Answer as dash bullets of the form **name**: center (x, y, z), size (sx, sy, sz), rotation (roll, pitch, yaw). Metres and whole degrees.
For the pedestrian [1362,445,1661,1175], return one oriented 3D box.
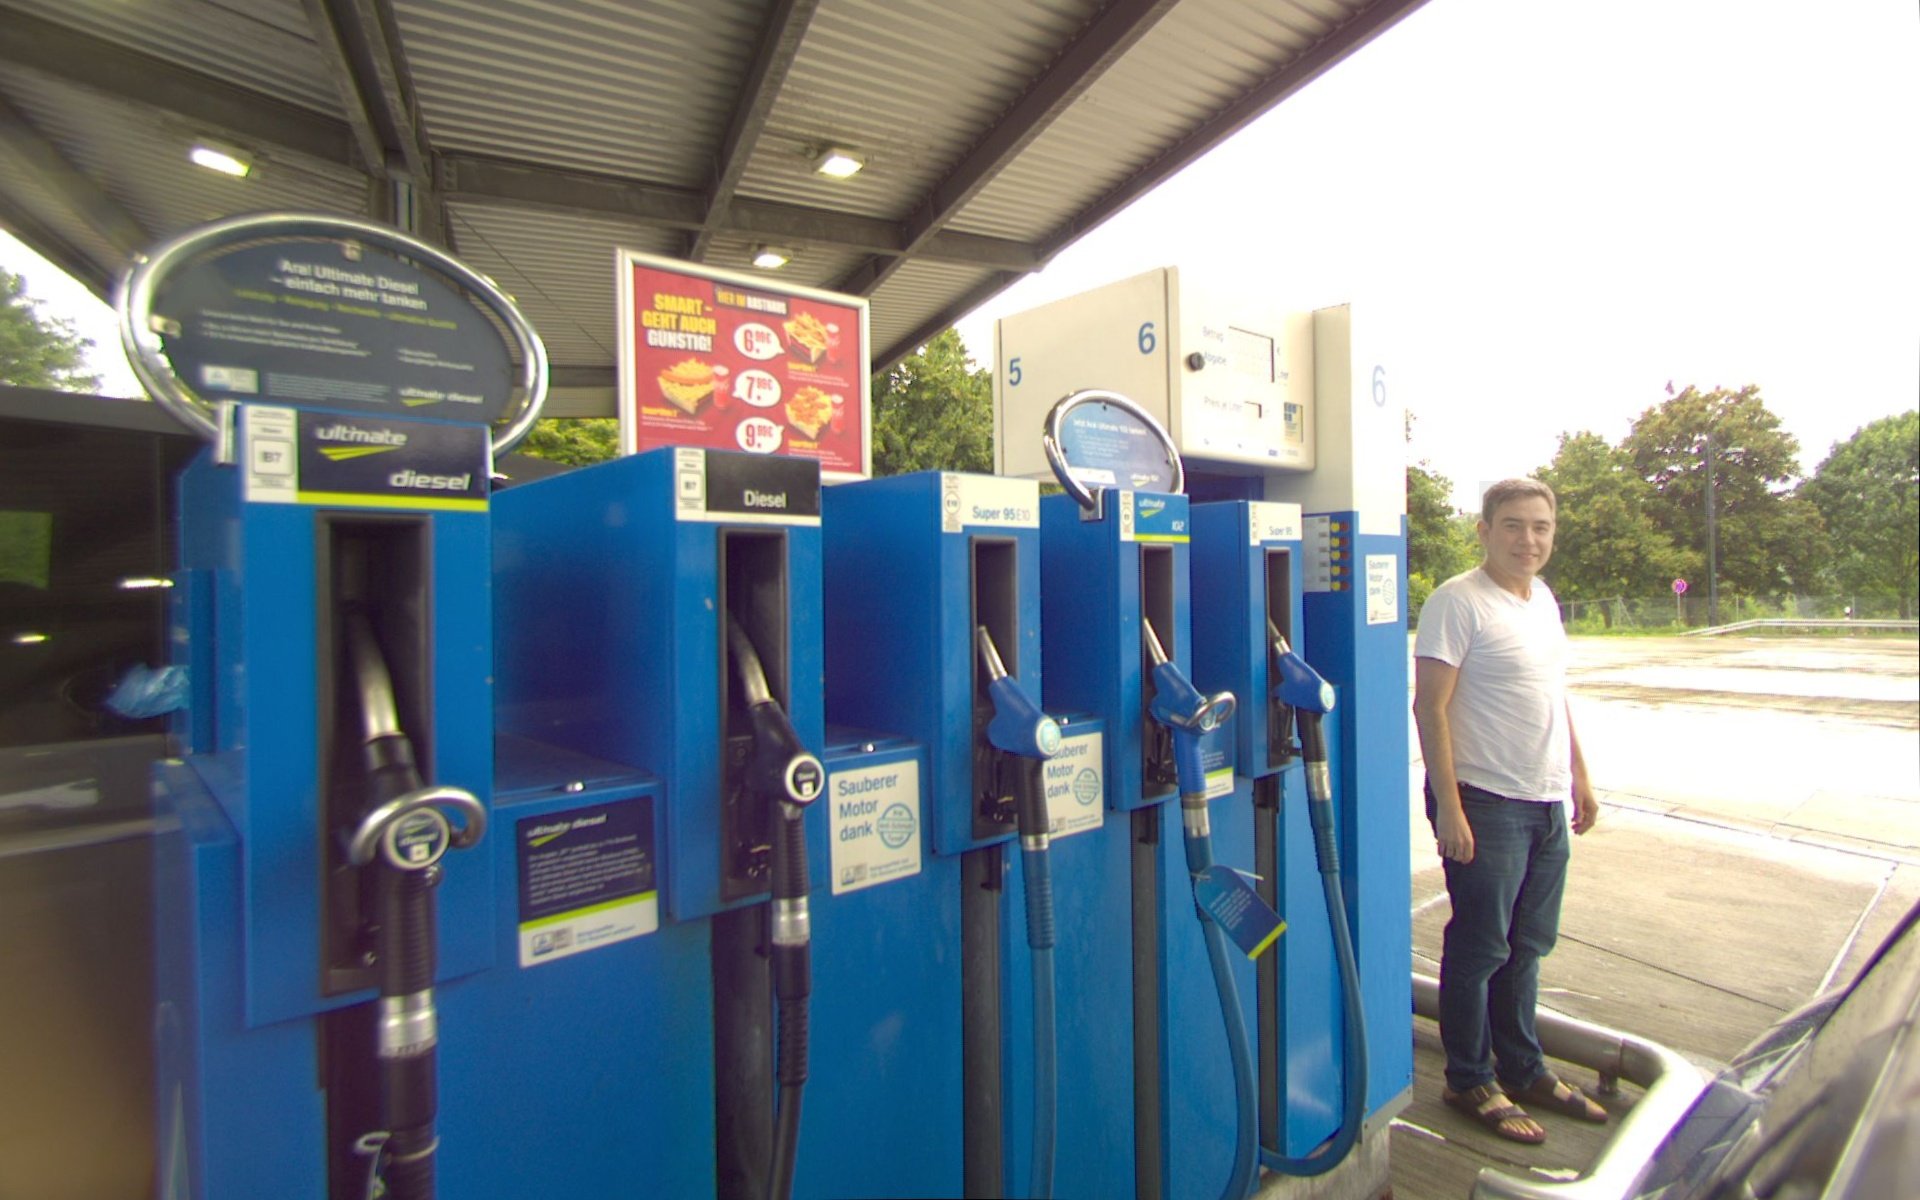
- **pedestrian**: center (1.580, 0.517, 2.908), size (0.621, 1.832, 0.495), rotation (-2, 1, -31)

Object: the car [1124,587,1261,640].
- **car**: center (7.397, 0.405, 32.147), size (4.123, 1.576, 1.990), rotation (1, 0, 17)

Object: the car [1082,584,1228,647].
- **car**: center (5.809, 0.420, 30.012), size (4.123, 1.752, 1.990), rotation (0, 0, 17)

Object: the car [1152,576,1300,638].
- **car**: center (8.934, 0.208, 34.331), size (4.700, 2.011, 2.007), rotation (0, 0, 14)

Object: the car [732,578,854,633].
- **car**: center (-5.563, 0.150, 33.475), size (1.967, 1.683, 4.170), rotation (0, 0, -44)

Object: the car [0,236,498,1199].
- **car**: center (-3.023, 0.405, 1.478), size (3.930, 1.973, 1.819), rotation (0, 0, -41)
